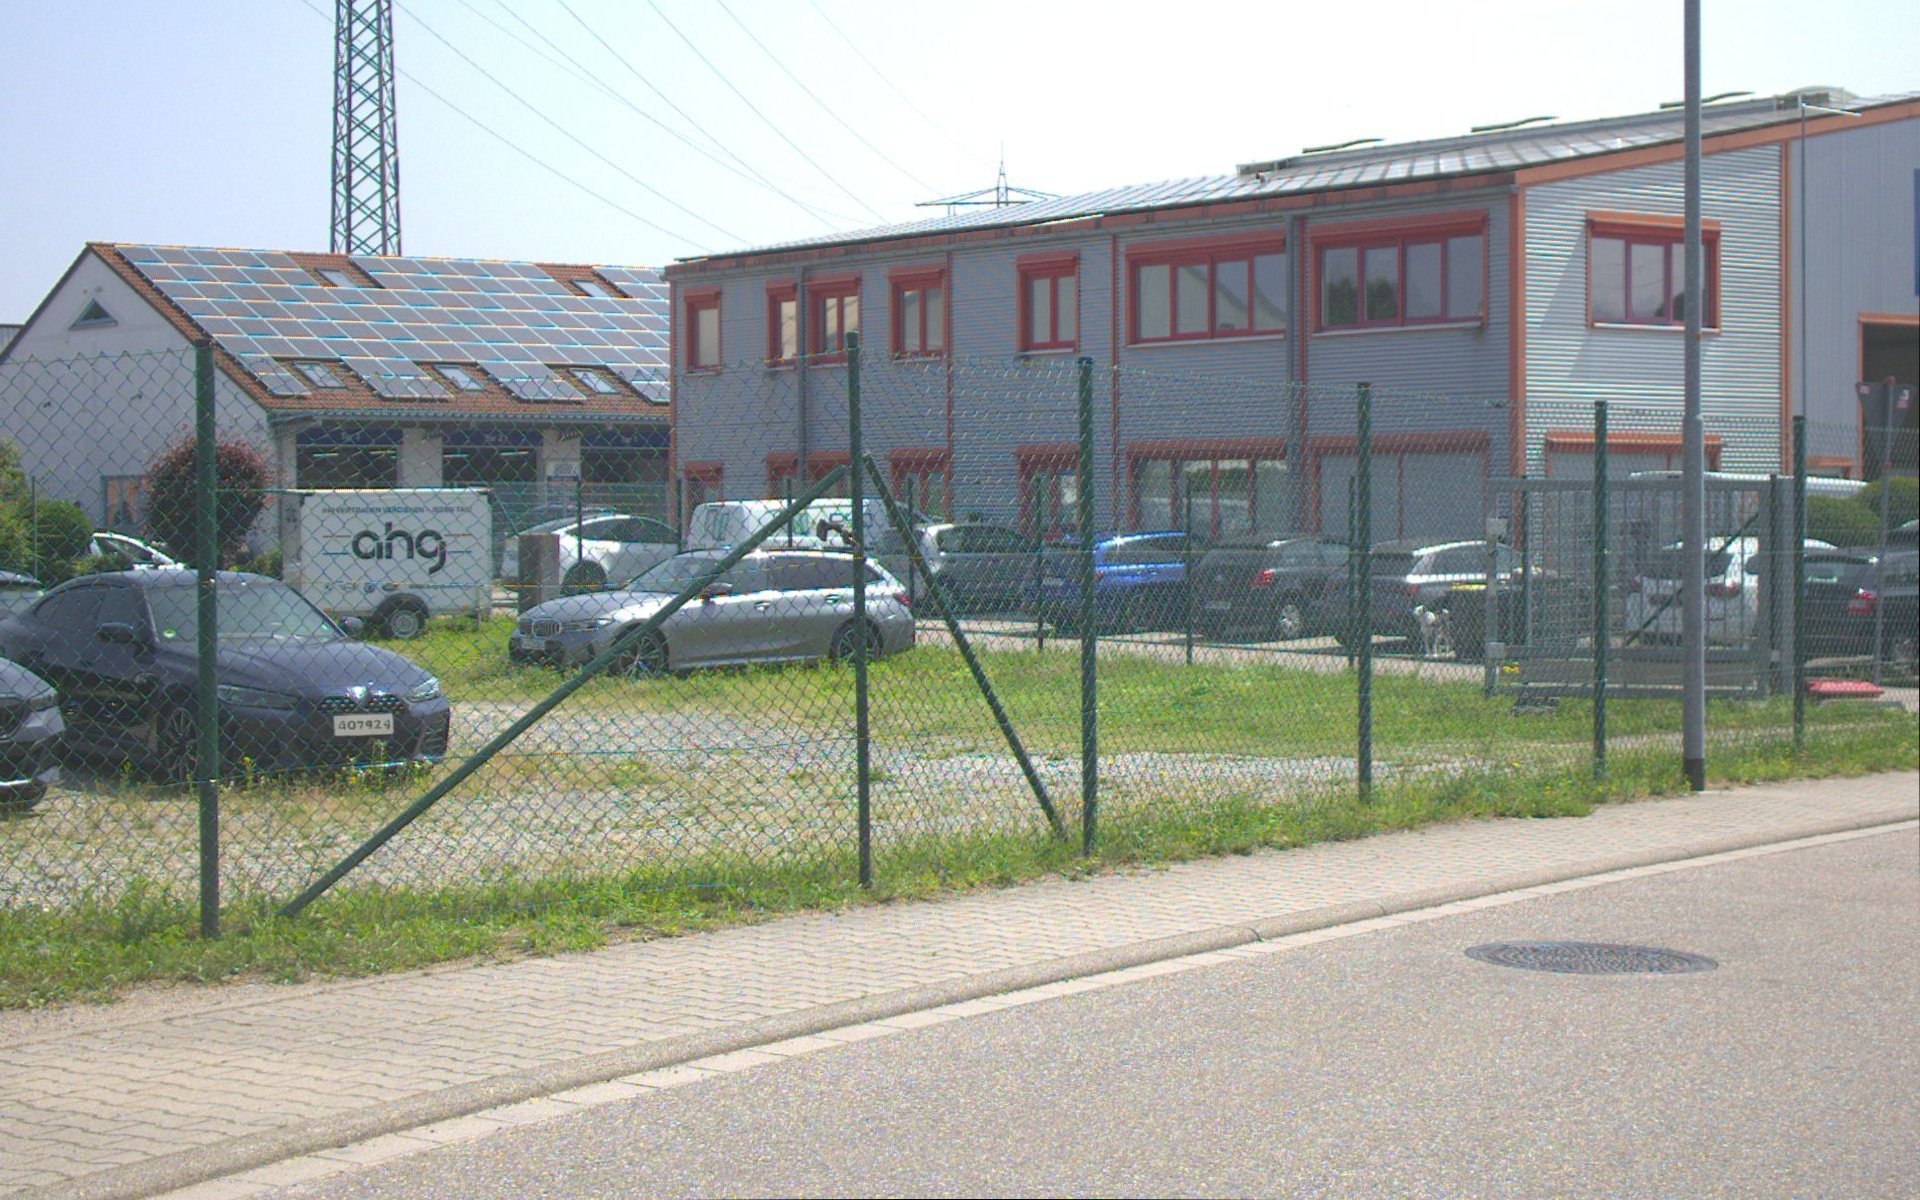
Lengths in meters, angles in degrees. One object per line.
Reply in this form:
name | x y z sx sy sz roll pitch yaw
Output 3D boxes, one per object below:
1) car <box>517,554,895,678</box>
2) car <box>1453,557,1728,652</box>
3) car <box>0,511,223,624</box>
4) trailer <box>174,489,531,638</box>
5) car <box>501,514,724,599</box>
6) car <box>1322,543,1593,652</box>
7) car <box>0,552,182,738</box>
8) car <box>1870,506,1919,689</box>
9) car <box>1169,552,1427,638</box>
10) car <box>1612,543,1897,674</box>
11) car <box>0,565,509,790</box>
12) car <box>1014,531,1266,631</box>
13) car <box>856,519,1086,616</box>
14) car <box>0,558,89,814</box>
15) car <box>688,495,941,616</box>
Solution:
car | -2.739 0.142 37.666 4.130 1.256 1.235 -1 2 -38
car | 8.217 0.037 44.714 3.593 1.147 1.507 -1 2 -38
car | -12.949 -0.480 49.899 3.987 1.593 1.877 -1 1 -35
trailer | -8.167 -0.520 46.226 4.446 1.938 1.715 -1 1 -22
car | -6.410 -0.825 63.610 3.895 1.510 1.507 -1 2 -38
car | 6.678 -0.063 46.004 3.593 1.376 1.507 -1 2 -38
car | -8.357 0.327 29.208 1.995 1.430 4.422 -1 1 -33
car | 12.564 -0.059 39.059 4.504 2.023 1.956 -1 2 -38
car | 4.819 -0.090 48.806 3.593 1.147 1.507 -1 2 -38
car | 9.897 0.071 42.747 3.593 1.534 1.507 -1 2 -38
car | -5.275 0.475 24.662 1.996 1.430 4.664 -1 1 -37
car | 2.664 -0.303 50.628 3.593 1.411 1.507 -1 2 -38
car | 0.196 -0.558 56.266 3.593 1.538 1.507 -1 2 -38
car | -7.254 0.508 22.141 1.863 1.549 3.770 -1 1 -37
car | -2.429 -0.768 57.689 3.895 1.972 1.823 -1 2 -38
